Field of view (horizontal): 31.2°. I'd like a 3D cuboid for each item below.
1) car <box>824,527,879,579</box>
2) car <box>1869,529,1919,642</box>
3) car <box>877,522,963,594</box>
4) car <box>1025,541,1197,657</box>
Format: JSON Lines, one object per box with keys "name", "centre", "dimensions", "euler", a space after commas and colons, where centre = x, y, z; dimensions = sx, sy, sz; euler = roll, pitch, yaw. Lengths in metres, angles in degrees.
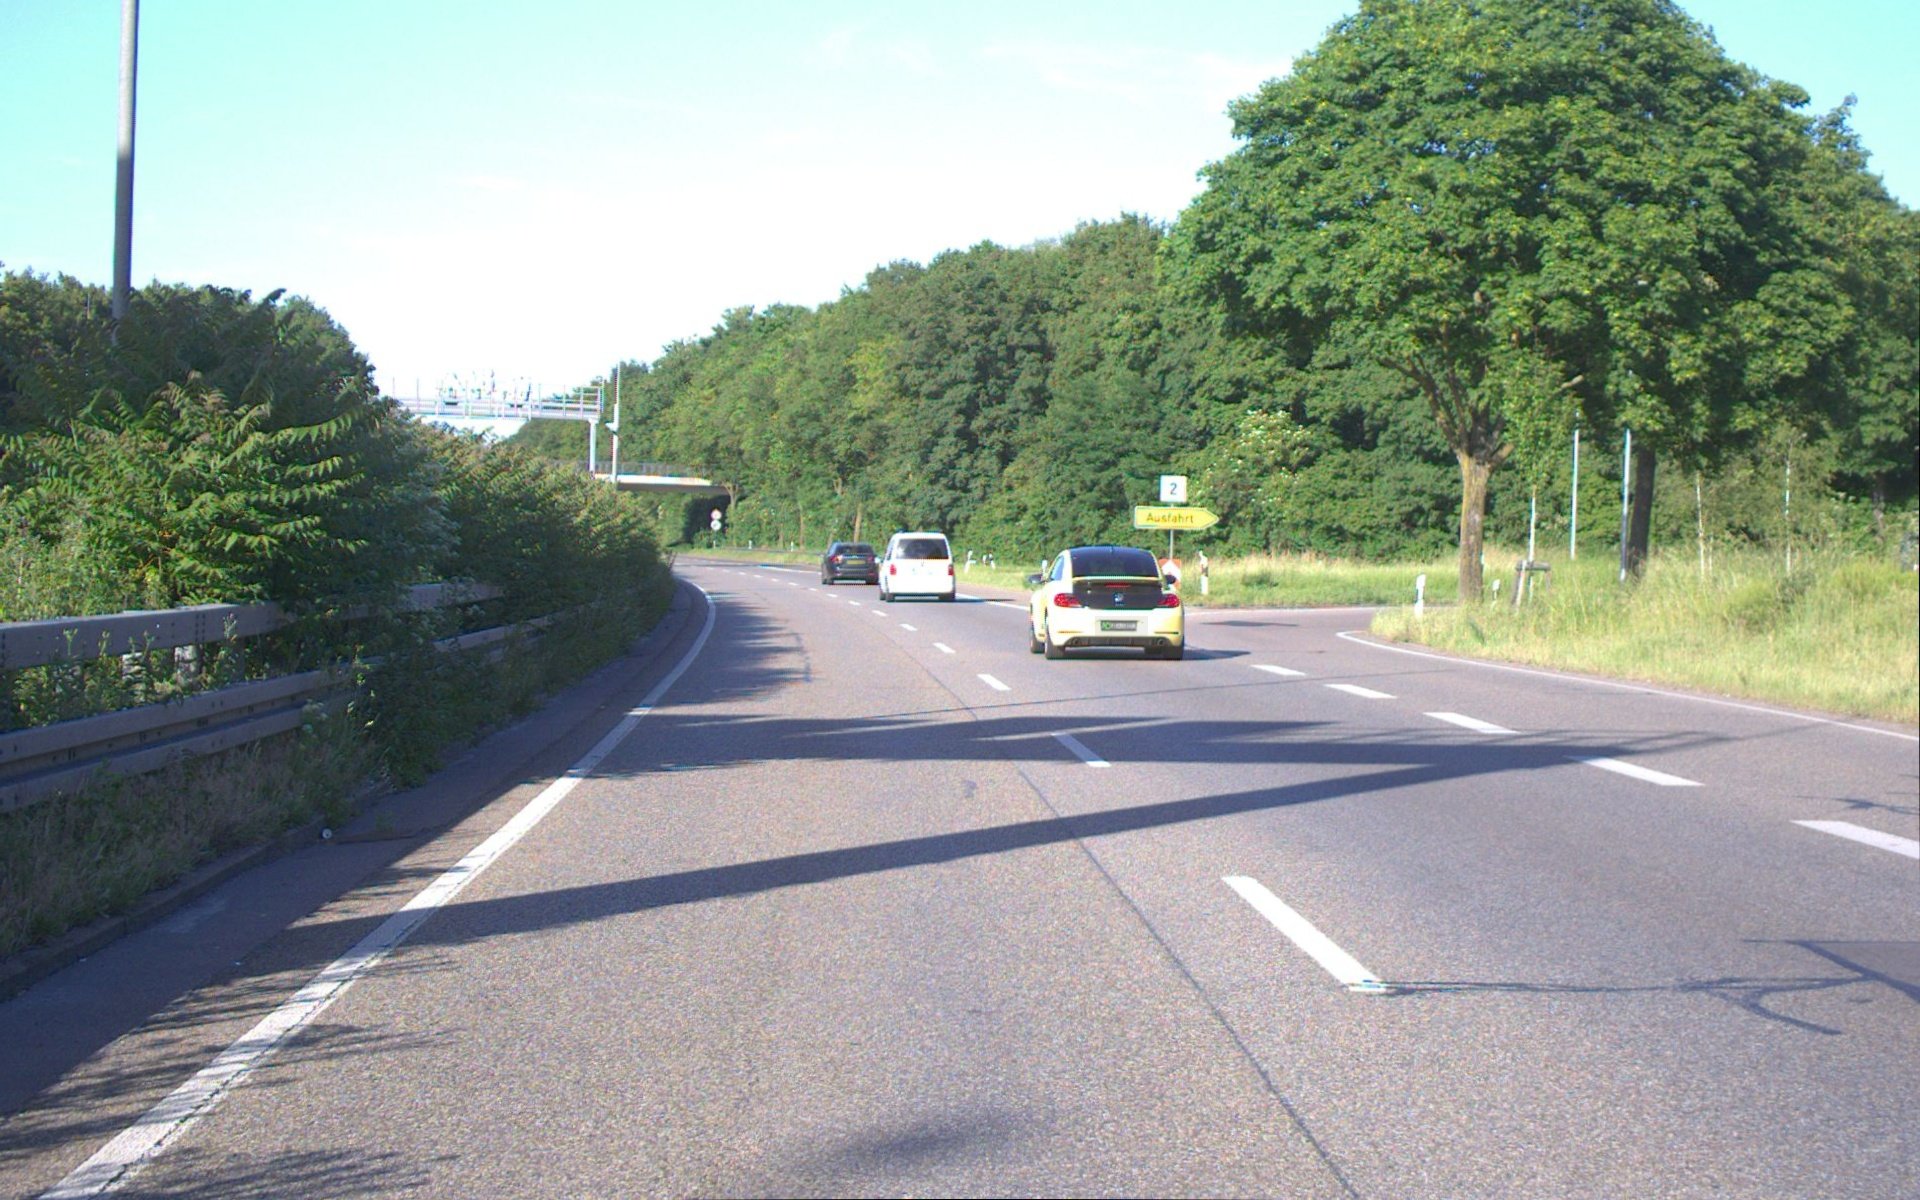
{"name": "car", "centre": [-3.765, -1.641, 119.455], "dimensions": [1.897, 1.761, 4.000], "euler": [0, 1, -2]}
{"name": "car", "centre": [20.573, -0.143, 67.168], "dimensions": [5.034, 2.128, 2.093], "euler": [3, 0, 4]}
{"name": "car", "centre": [-1.052, -1.044, 88.071], "dimensions": [1.897, 1.761, 4.000], "euler": [1, 0, -5]}
{"name": "car", "centre": [1.953, -0.046, 45.638], "dimensions": [1.897, 1.466, 4.001], "euler": [0, 1, -3]}
